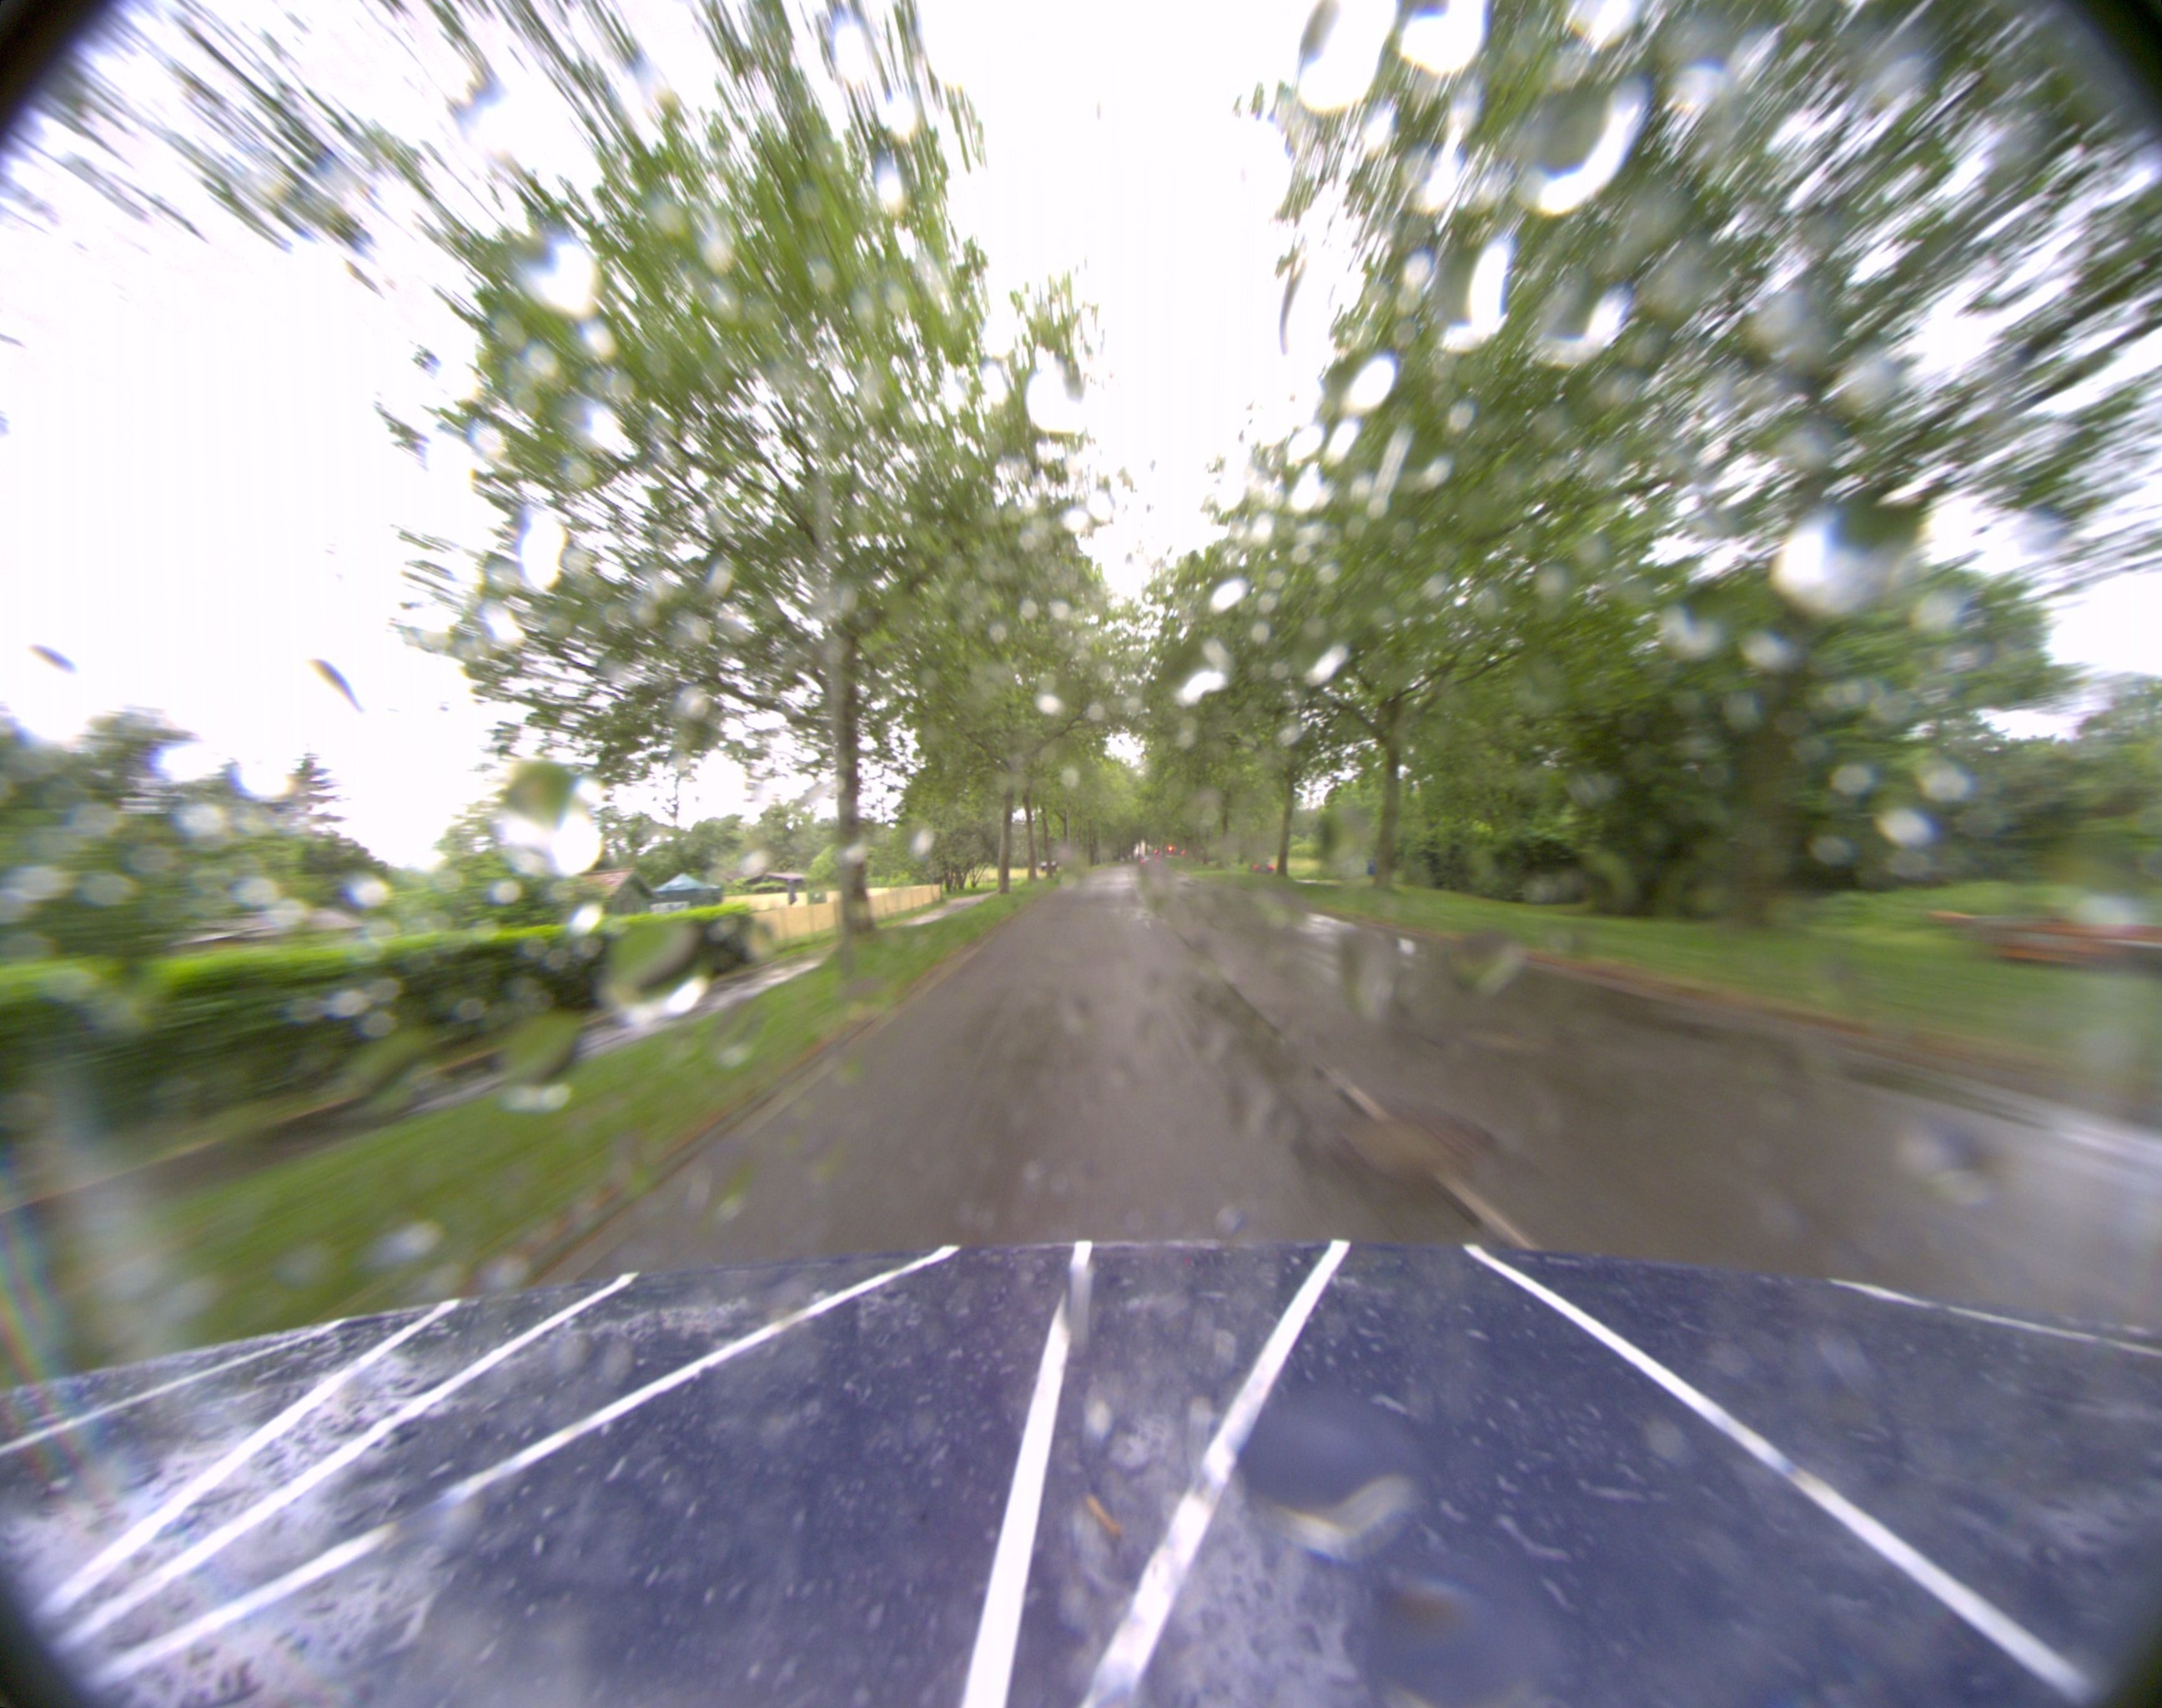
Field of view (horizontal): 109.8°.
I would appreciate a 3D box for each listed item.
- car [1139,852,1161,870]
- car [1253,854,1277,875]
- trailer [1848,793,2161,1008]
[{"bbox_3d":[5.901,0.564,65.532,1.593,1.444,3.373,-2,1,0],"label":"car"},{"bbox_3d":[15.748,0.881,65.031,1.896,1.672,4.004,-2,1,15],"label":"car"},{"bbox_3d":[14.695,0.519,9.895,2.804,2.648,6.652,-2,1,2],"label":"trailer"}]
